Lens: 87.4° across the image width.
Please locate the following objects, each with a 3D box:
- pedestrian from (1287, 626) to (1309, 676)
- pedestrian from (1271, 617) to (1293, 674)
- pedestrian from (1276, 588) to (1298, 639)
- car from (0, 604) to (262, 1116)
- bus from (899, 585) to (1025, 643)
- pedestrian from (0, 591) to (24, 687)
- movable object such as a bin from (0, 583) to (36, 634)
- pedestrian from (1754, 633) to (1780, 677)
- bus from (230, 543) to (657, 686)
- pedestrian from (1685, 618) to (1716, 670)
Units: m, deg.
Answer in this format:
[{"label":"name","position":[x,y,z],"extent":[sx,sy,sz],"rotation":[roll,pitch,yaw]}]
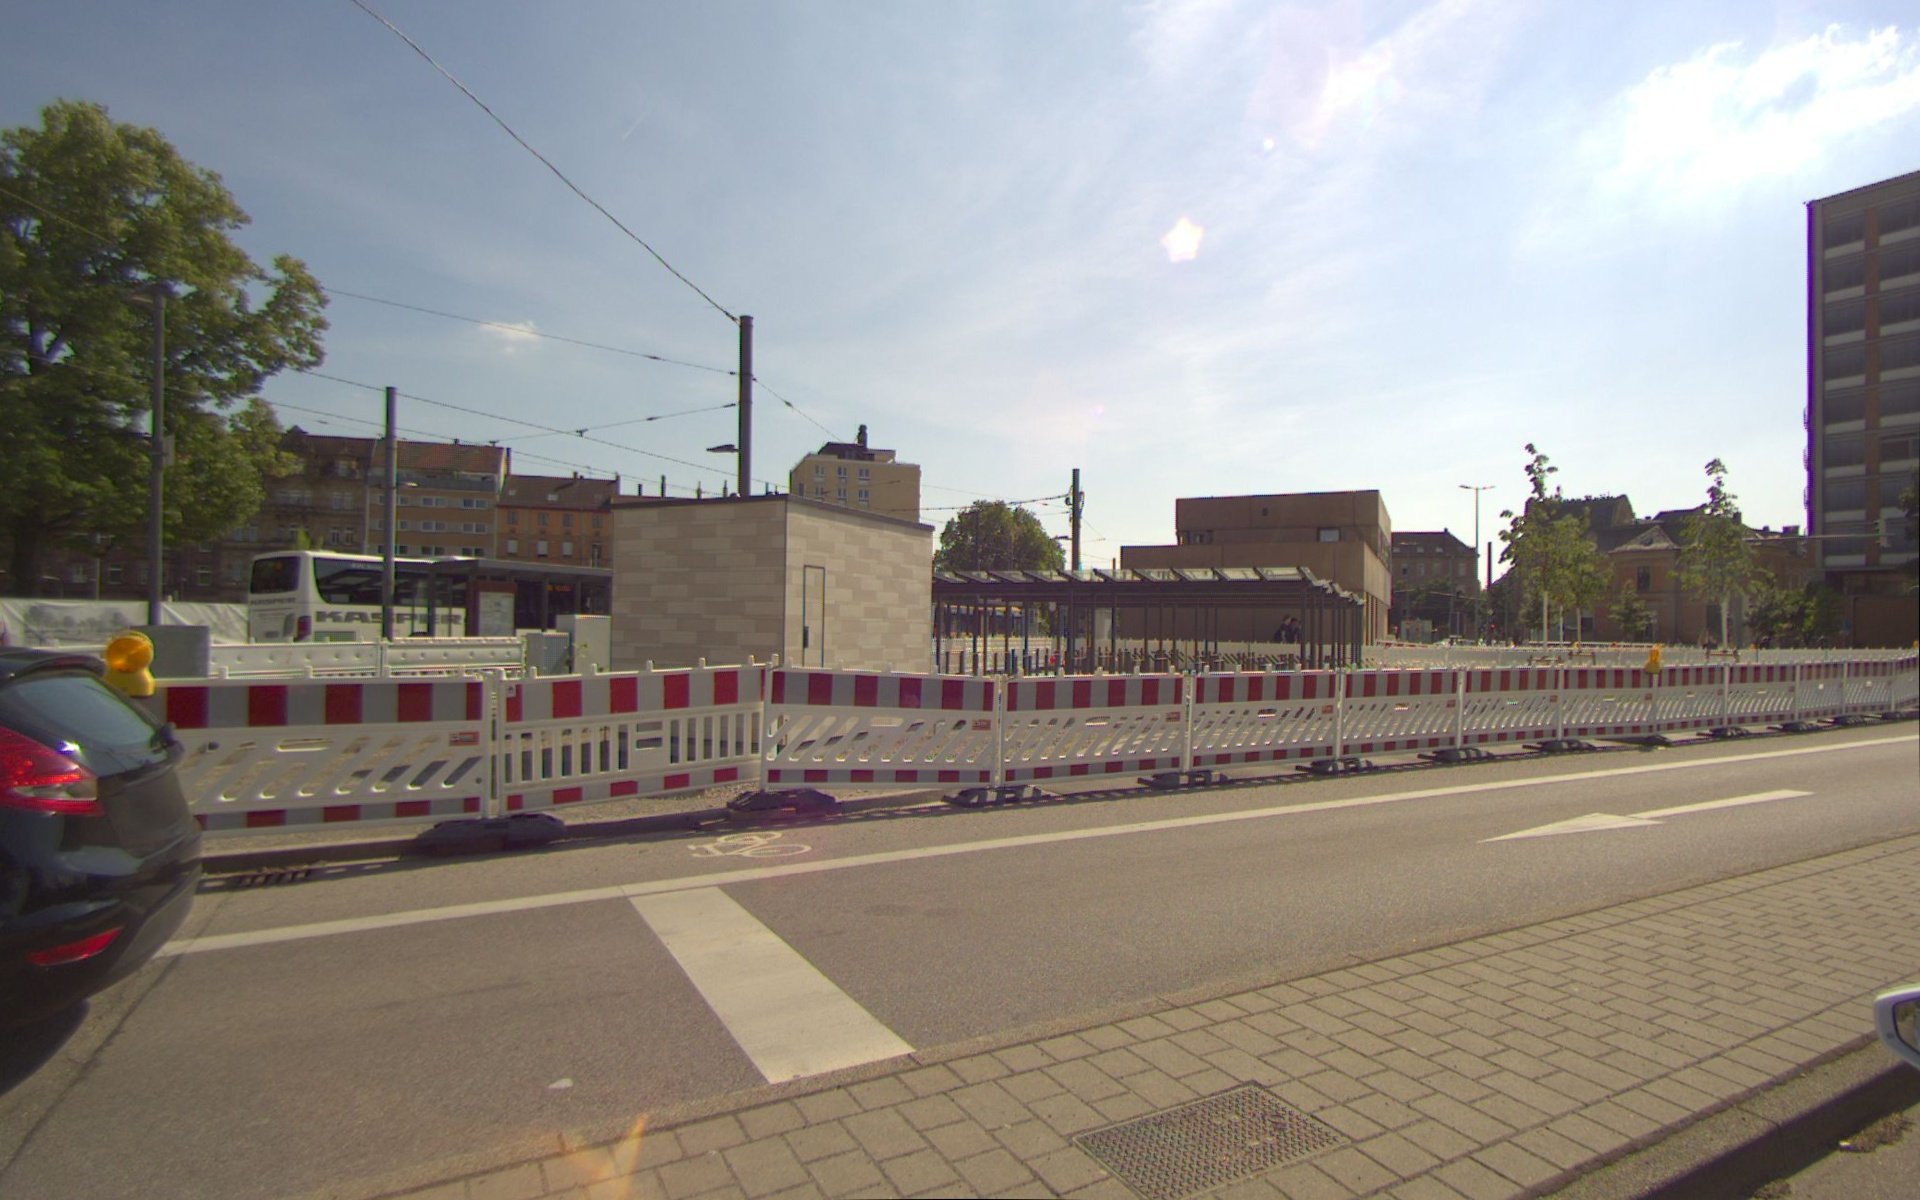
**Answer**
[{"label":"pedestrian","position":[11.823,1.787,35.163],"extent":[0.559,1.731,0.539],"rotation":[1,-2,-8]},{"label":"pedestrian","position":[11.138,1.572,34.713],"extent":[0.595,1.940,0.441],"rotation":[1,-2,-8]},{"label":"pedestrian","position":[11.676,0.504,35.898],"extent":[0.559,1.801,0.544],"rotation":[1,-2,-8]},{"label":"car","position":[-4.449,0.755,2.915],"extent":[3.771,1.470,1.659],"rotation":[1,-3,-29]},{"label":"bus","position":[0.453,1.000,64.055],"extent":[2.809,3.324,12.648],"rotation":[0,-2,26]},{"label":"pedestrian","position":[-16.701,0.669,17.296],"extent":[0.676,1.637,0.586],"rotation":[0,-1,18]},{"label":"movable object such as a bin","position":[-59.614,0.466,59.688],"extent":[6.487,3.049,2.559],"rotation":[2,-2,-35]},{"label":"pedestrian","position":[28.274,1.930,35.184],"extent":[0.624,1.511,0.613],"rotation":[-1,-2,45]},{"label":"bus","position":[-14.970,0.561,31.238],"extent":[2.809,3.535,12.648],"rotation":[0,-2,26]},{"label":"pedestrian","position":[26.140,1.549,35.455],"extent":[0.728,1.775,1.104],"rotation":[-1,-5,45]}]
